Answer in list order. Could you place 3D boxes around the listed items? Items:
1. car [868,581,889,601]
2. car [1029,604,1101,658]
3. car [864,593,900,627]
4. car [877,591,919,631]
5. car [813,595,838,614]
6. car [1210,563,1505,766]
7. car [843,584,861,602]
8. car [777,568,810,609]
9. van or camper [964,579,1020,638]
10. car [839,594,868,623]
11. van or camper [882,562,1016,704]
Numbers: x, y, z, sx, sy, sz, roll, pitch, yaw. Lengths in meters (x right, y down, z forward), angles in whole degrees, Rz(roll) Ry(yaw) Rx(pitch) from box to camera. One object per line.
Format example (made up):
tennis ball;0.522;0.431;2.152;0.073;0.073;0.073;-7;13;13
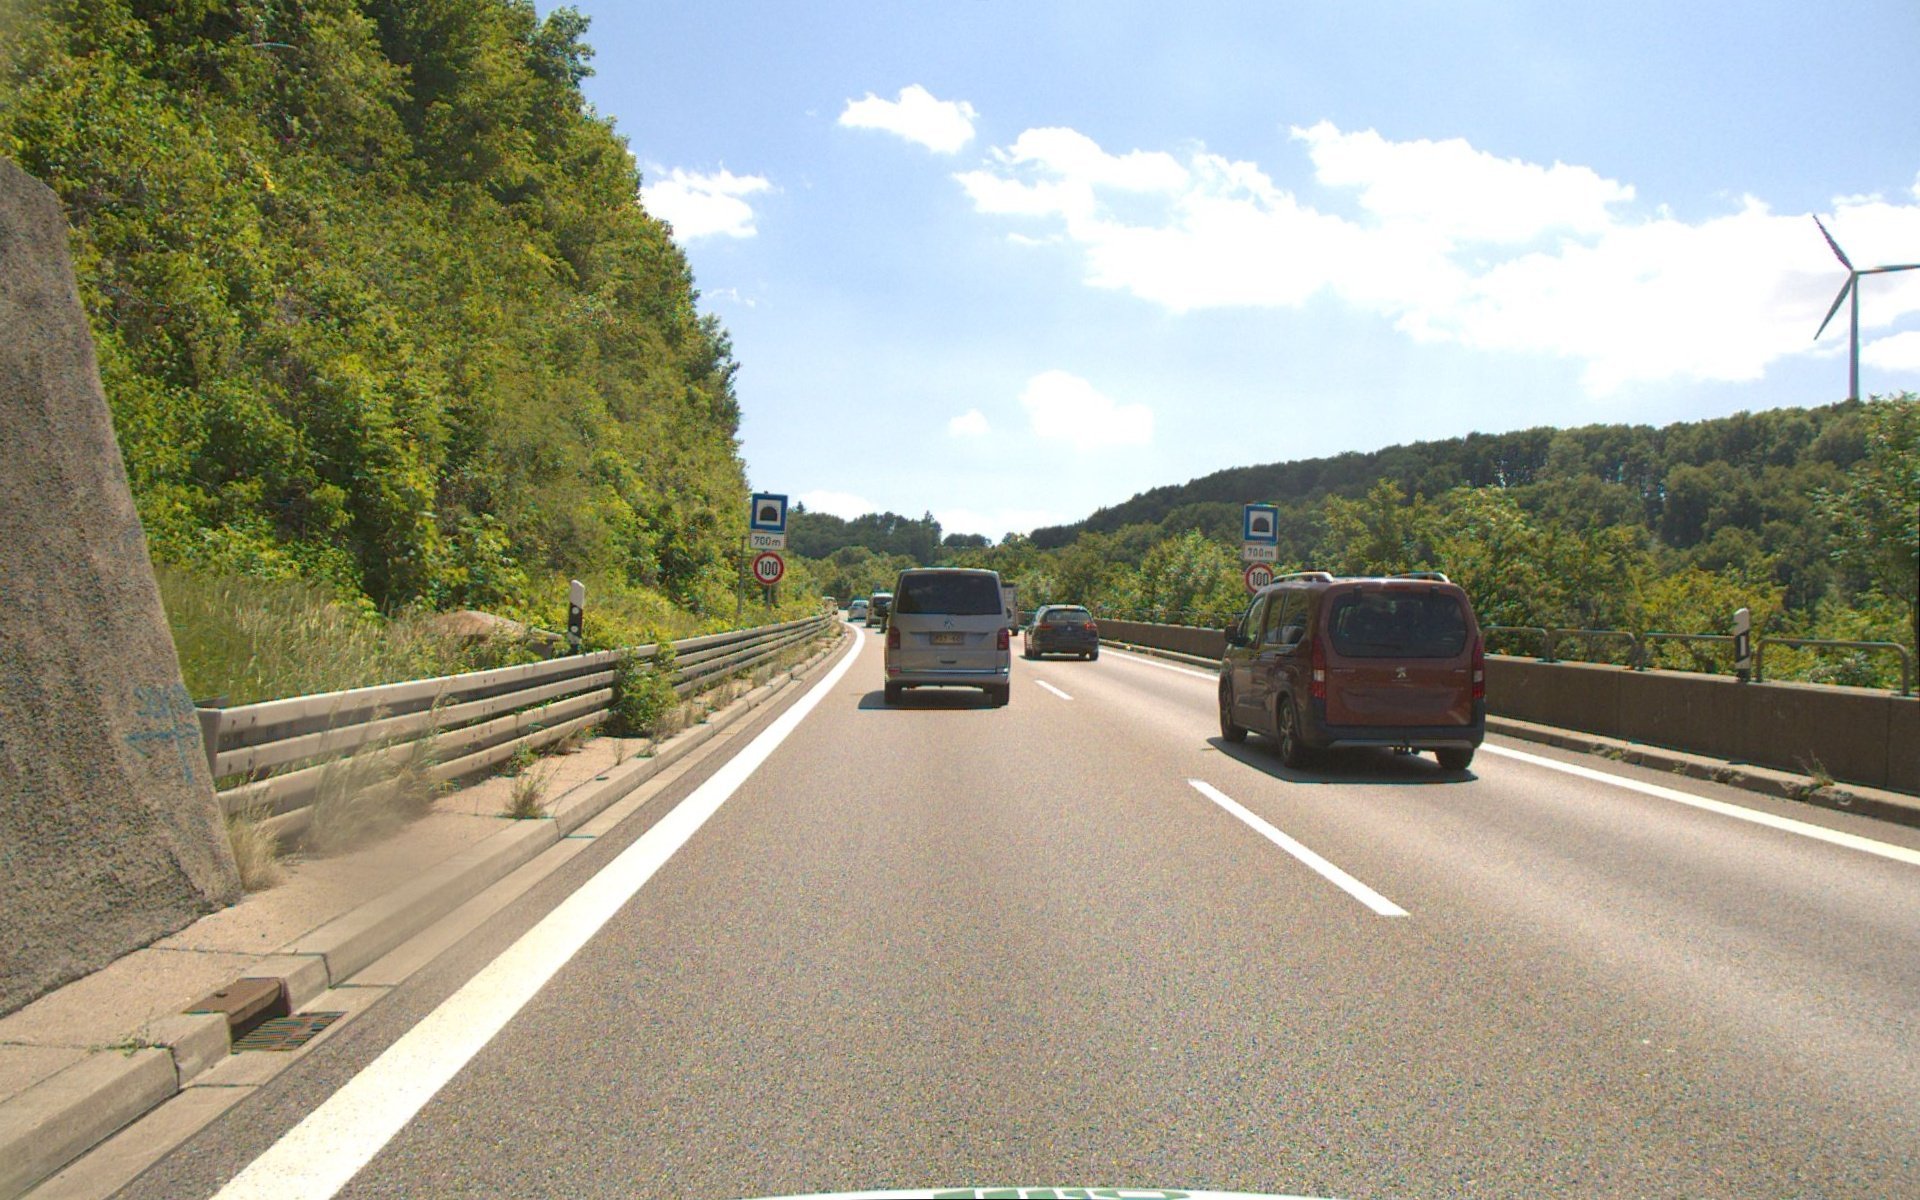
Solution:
car;-8.555;-0.947;172.773;1.955;2.049;3.995;1;0;-6
car;2.840;0.818;45.318;1.732;1.400;3.592;1;0;0
car;-4.427;0.568;93.669;1.954;1.849;3.998;1;0;-3
car;-2.994;0.505;79.009;1.954;1.849;3.998;1;0;-3
car;-12.172;0.449;149.699;2.101;1.635;5.071;-1;-1;-6
car;3.913;0.600;17.153;1.796;1.815;4.674;0;-1;-2
car;-12.239;-0.777;187.823;1.955;2.049;3.996;1;0;-5
car;-21.181;-1.446;209.860;3.966;4.957;10.094;1;0;-7
van or camper;1.421;0.390;75.572;2.219;2.596;4.733;-1;0;-3
car;-7.388;0.582;114.421;1.954;1.948;3.997;1;0;-4
van or camper;-0.251;0.472;25.473;1.838;1.983;4.291;0;0;-3
